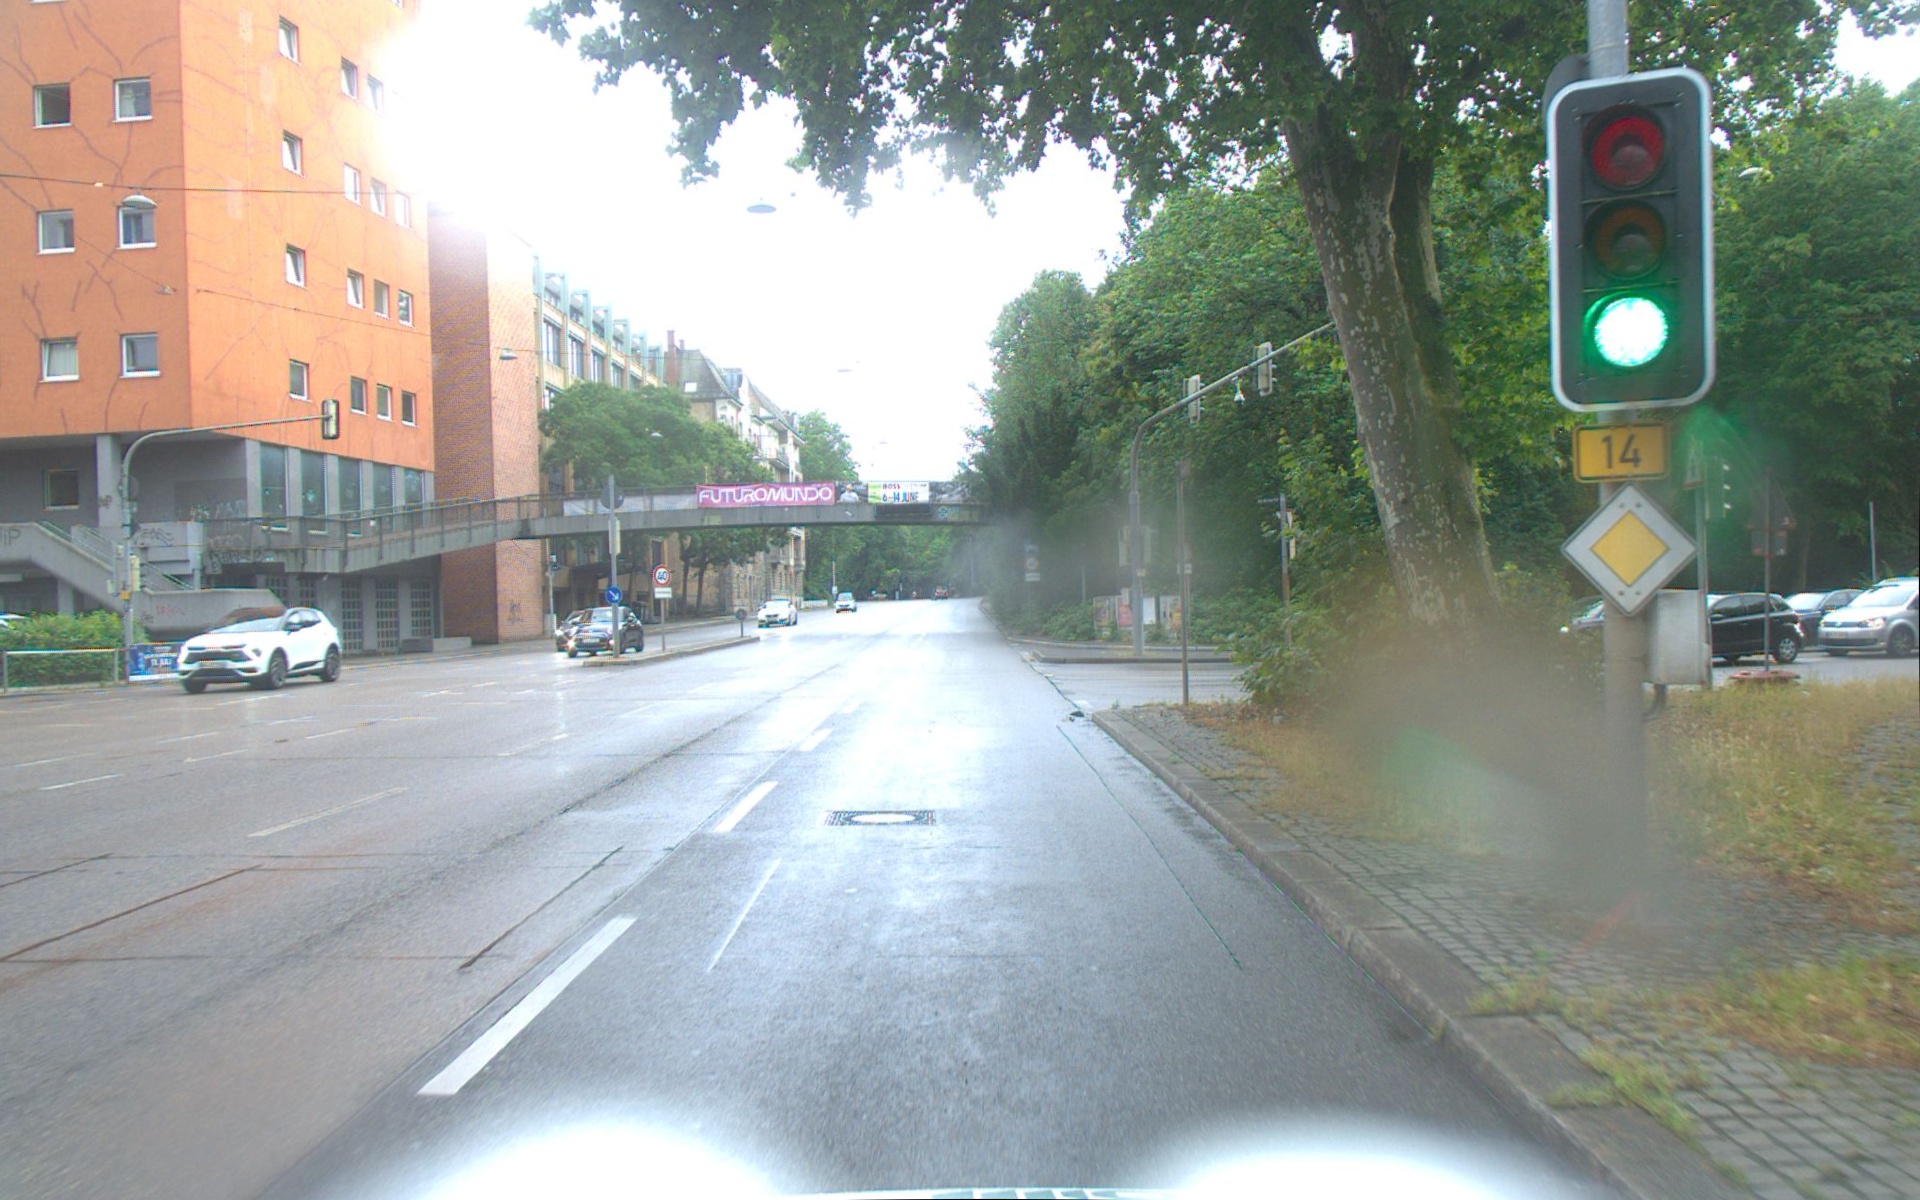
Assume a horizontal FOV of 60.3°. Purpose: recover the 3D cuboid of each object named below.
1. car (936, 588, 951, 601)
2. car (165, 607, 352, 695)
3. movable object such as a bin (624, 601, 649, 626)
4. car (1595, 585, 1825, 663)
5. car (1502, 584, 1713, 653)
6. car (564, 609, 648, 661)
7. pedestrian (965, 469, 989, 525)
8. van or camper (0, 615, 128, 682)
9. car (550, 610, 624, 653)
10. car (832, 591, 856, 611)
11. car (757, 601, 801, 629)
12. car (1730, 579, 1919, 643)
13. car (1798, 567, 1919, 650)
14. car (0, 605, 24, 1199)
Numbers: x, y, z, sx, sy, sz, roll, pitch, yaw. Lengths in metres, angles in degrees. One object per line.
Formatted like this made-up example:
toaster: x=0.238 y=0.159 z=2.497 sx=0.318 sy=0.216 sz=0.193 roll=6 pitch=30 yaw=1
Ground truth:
car: x=-2.281 y=-0.779 z=229.202 sx=1.964 sy=1.672 sz=4.374 roll=-1 pitch=0 yaw=-2
car: x=-14.363 y=0.996 z=34.178 sx=1.850 sy=1.638 sz=4.457 roll=-1 pitch=0 yaw=1
movable object such as a bin: x=-20.539 y=0.832 z=105.089 sx=1.272 sy=1.544 sz=1.214 roll=-1 pitch=0 yaw=0
car: x=15.231 y=0.485 z=33.614 sx=4.120 sy=1.486 sz=1.785 roll=1 pitch=0 yaw=-17
car: x=14.589 y=0.421 z=37.327 sx=4.132 sy=1.466 sz=1.941 roll=1 pitch=0 yaw=-17
car: x=-10.751 y=1.045 z=50.429 sx=1.648 sy=1.461 sz=3.862 roll=-2 pitch=0 yaw=0
pedestrian: x=0.759 y=-4.589 z=73.739 sx=0.935 sy=2.386 sz=1.005 roll=1 pitch=-1 yaw=-6
van or camper: x=-24.684 y=1.296 z=44.206 sx=3.903 sy=1.656 sz=1.915 roll=-1 pitch=0 yaw=5
car: x=-13.853 y=1.159 z=61.566 sx=1.673 sy=1.490 sz=4.042 roll=-2 pitch=0 yaw=2
car: x=-9.445 y=0.114 z=134.840 sx=1.568 sy=1.525 sz=3.711 roll=-3 pitch=0 yaw=0
car: x=-9.820 y=0.812 z=90.009 sx=1.793 sy=1.418 sz=4.405 roll=-3 pitch=0 yaw=0
car: x=20.617 y=0.272 z=39.046 sx=4.361 sy=1.427 sz=1.821 roll=1 pitch=0 yaw=-17
car: x=20.443 y=0.205 z=35.635 sx=4.130 sy=1.709 sz=1.898 roll=1 pitch=0 yaw=-17
car: x=-2.706 y=0.778 z=0.964 sx=1.740 sy=1.483 sz=4.477 roll=-2 pitch=0 yaw=0
